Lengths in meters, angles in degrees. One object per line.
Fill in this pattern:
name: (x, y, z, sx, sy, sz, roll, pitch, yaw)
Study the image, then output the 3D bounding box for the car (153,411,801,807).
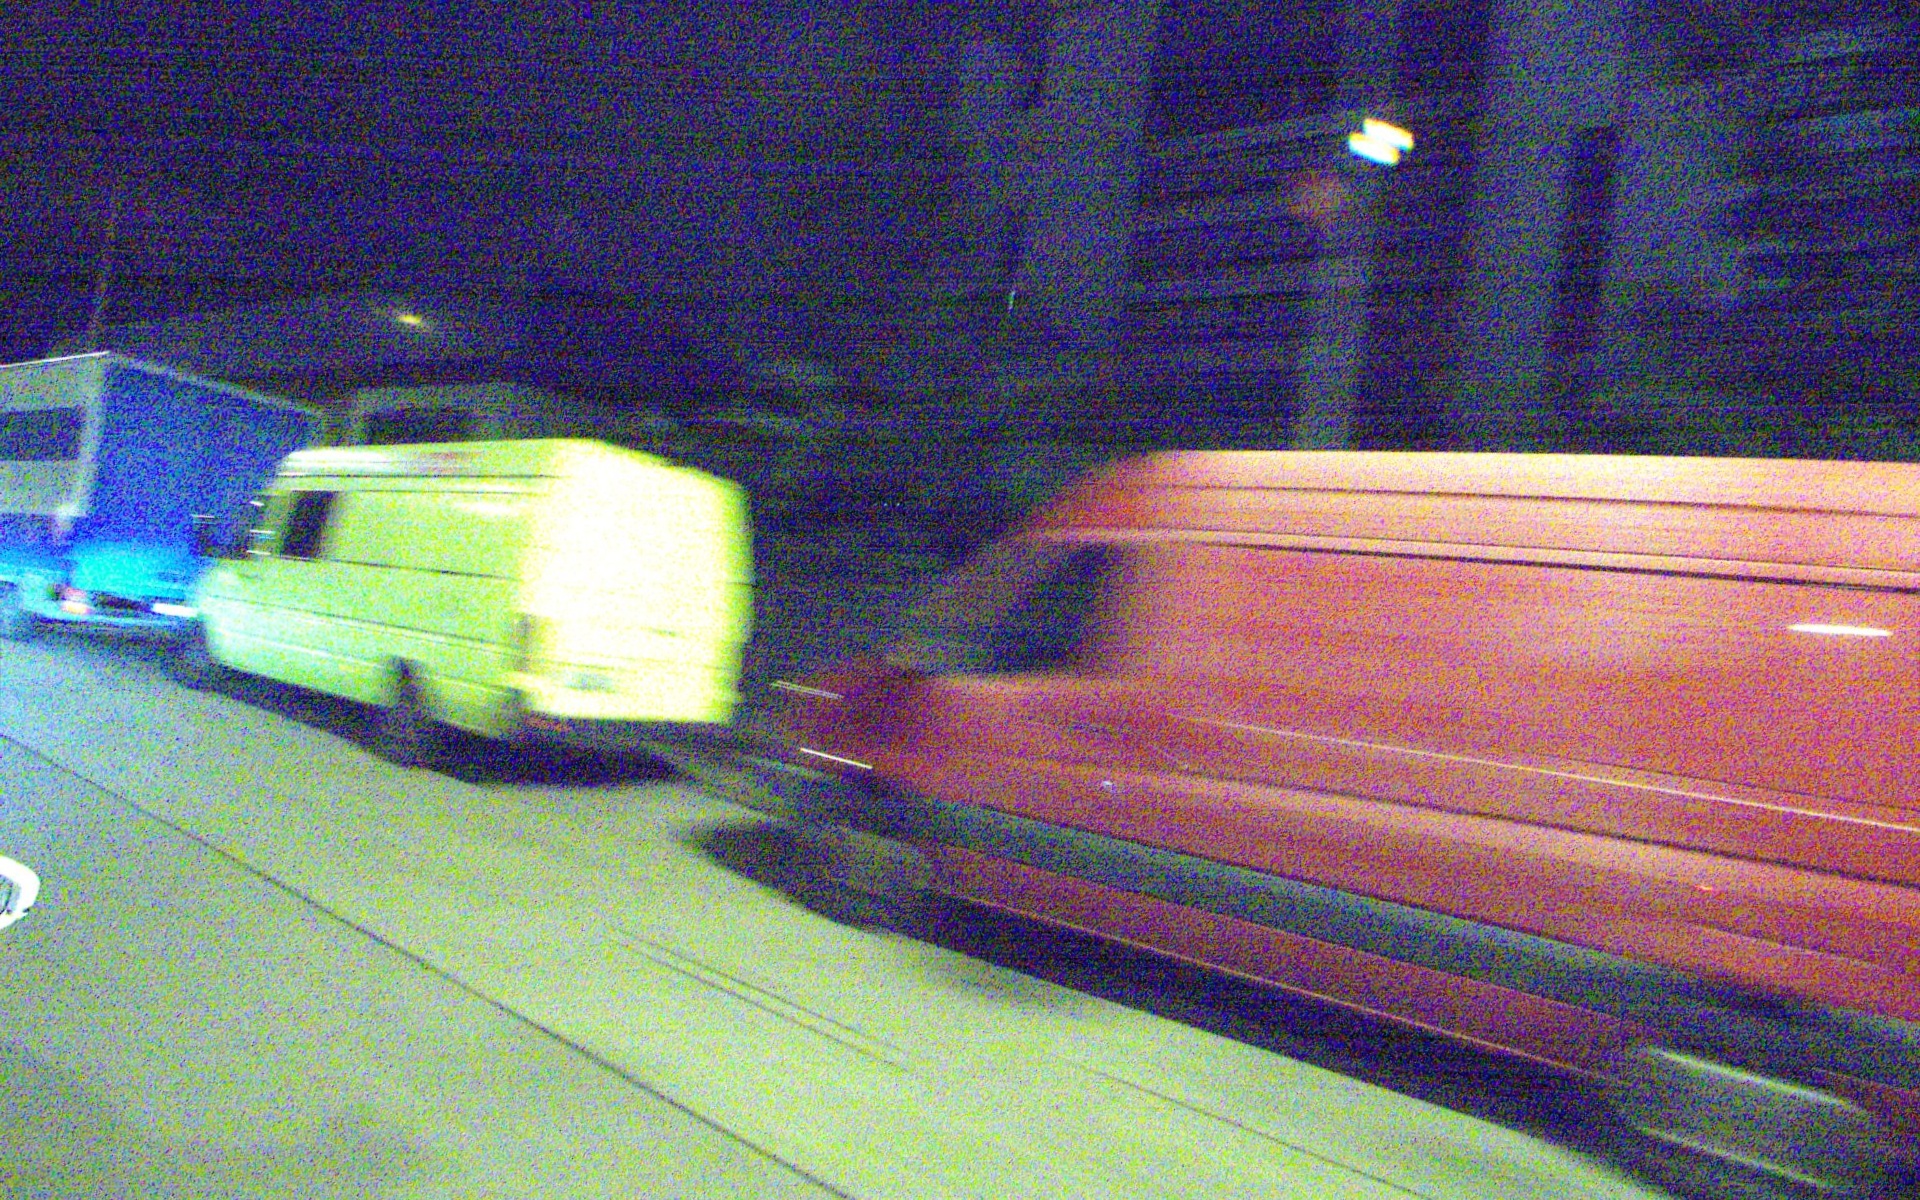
car: (-4.684, -0.127, 9.111, 6.539, 2.577, 1.944, 6, -2, 33)

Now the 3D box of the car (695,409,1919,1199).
car: (1.673, 0.595, 5.076, 5.925, 2.577, 1.998, 6, -2, 31)

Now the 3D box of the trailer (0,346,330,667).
trailer: (-10.739, -1.147, 12.946, 4.289, 3.363, 2.404, 6, -2, 30)
